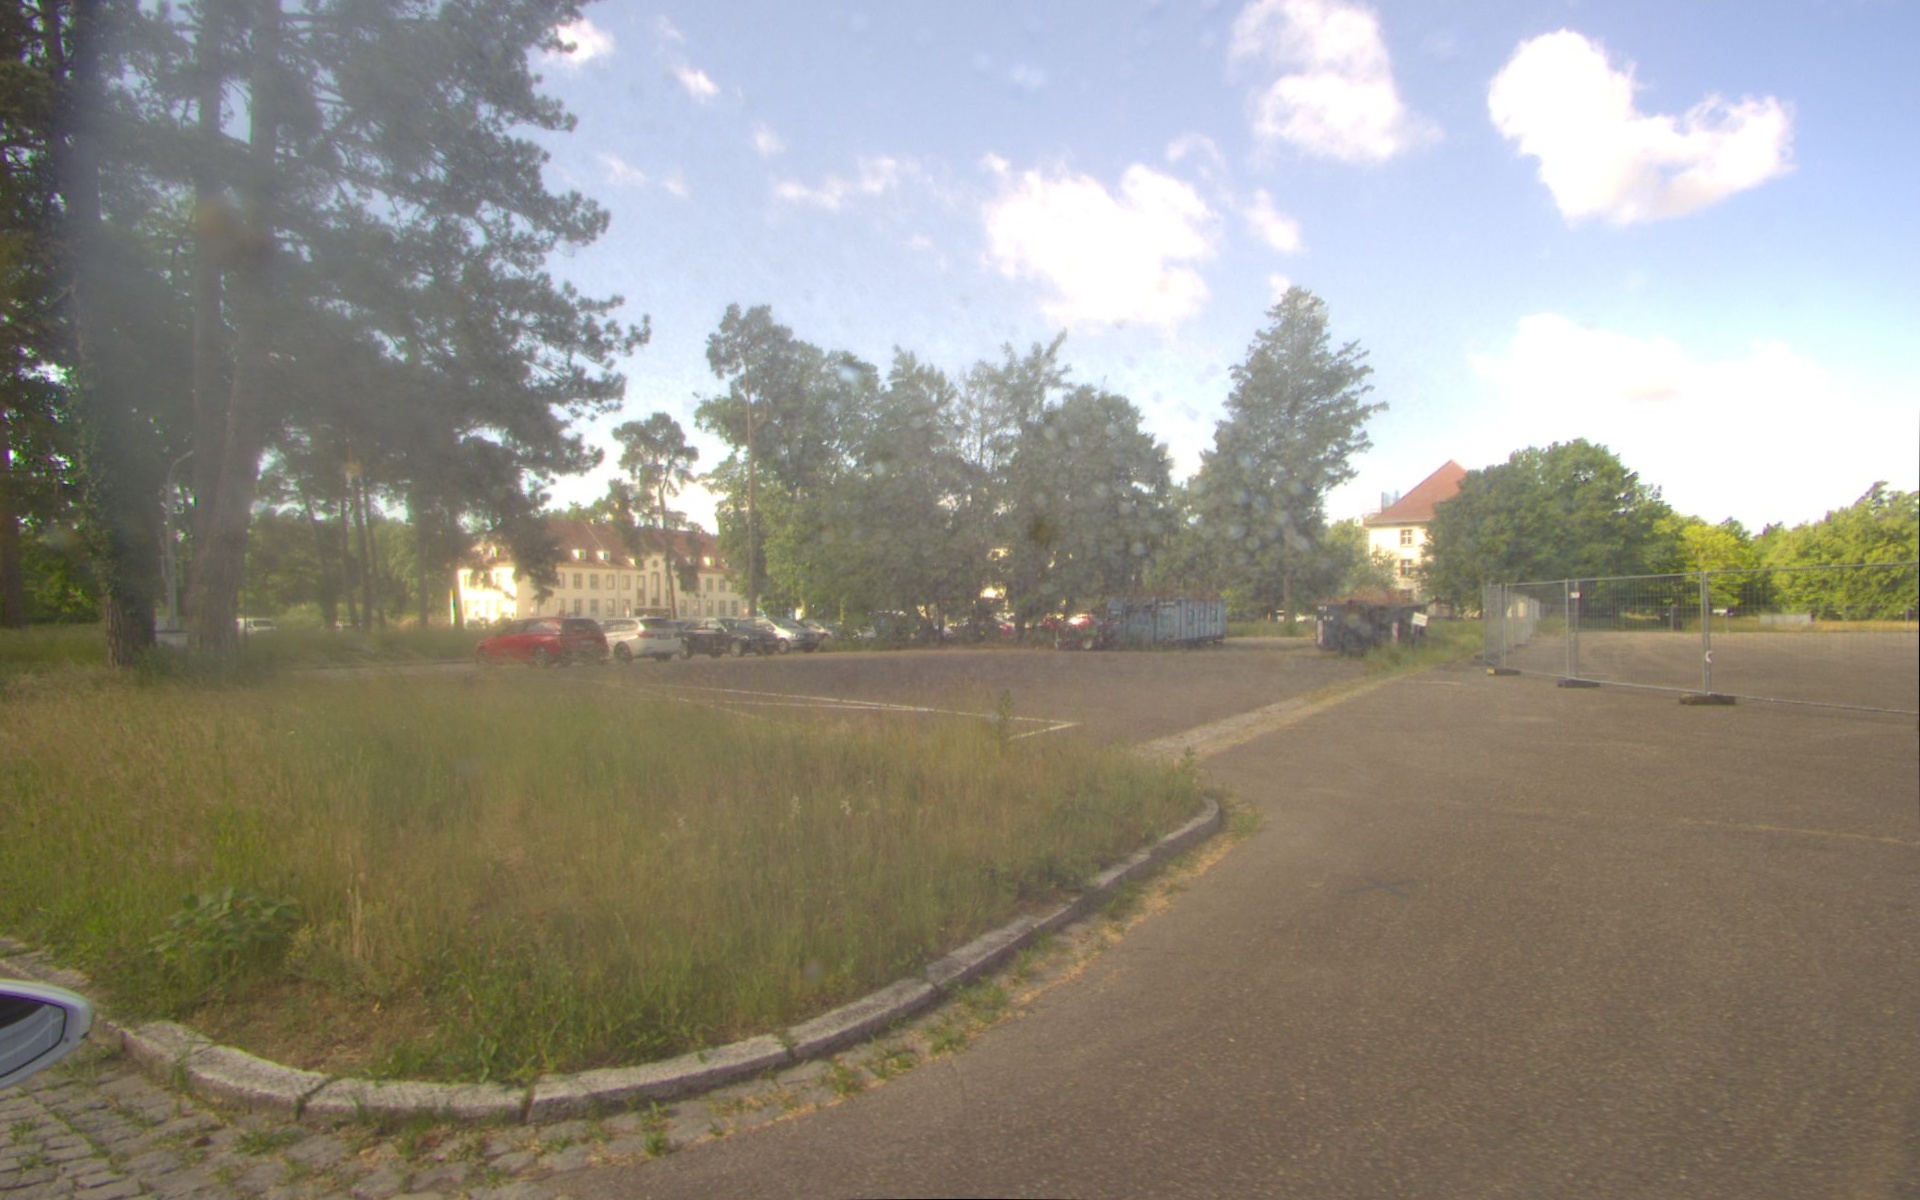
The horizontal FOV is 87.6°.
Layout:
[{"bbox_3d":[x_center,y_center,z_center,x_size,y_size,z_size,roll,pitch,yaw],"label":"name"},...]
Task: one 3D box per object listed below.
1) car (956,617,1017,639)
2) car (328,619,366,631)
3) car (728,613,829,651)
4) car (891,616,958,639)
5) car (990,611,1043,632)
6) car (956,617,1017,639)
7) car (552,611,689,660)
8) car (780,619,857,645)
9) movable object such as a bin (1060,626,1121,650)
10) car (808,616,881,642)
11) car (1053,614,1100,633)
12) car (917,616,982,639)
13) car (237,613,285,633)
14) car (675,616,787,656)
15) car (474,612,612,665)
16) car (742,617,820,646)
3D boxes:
[{"bbox_3d":[1.925,2.068,73.506,4.181,1.568,1.721,-1,-2,33],"label":"car"},{"bbox_3d":[-55.226,2.225,90.141,3.951,1.101,1.716,-1,-1,39],"label":"car"},{"bbox_3d":[-7.036,1.239,38.660,3.740,1.390,1.720,-1,-2,34],"label":"car"},{"bbox_3d":[-2.326,1.817,65.719,4.181,1.443,1.721,-1,-2,33],"label":"car"},{"bbox_3d":[4.311,1.680,76.433,3.640,1.568,1.705,-1,-2,33],"label":"car"},{"bbox_3d":[1.939,2.068,73.497,4.181,1.568,1.721,-1,-2,33],"label":"car"},{"bbox_3d":[-10.699,1.122,31.476,4.180,1.396,1.776,-3,-2,31],"label":"car"},{"bbox_3d":[-7.989,1.799,56.378,4.181,1.443,1.721,-1,-2,33],"label":"car"},{"bbox_3d":[4.265,1.227,32.647,1.696,0.762,1.143,-1,-1,26],"label":"movable object such as a bin"},{"bbox_3d":[-6.859,1.702,59.226,4.181,1.487,1.721,-1,-2,33],"label":"car"},{"bbox_3d":[10.081,2.041,86.681,3.682,1.568,1.705,-1,-2,33],"label":"car"},{"bbox_3d":[-0.751,1.886,68.301,4.181,1.568,1.721,-1,-2,33],"label":"car"},{"bbox_3d":[-58.643,1.929,83.987,4.103,1.603,1.823,-1,0,33],"label":"car"},{"bbox_3d":[-8.255,1.249,35.989,3.988,1.332,1.613,-1,0,33],"label":"car"},{"bbox_3d":[-12.094,1.131,28.976,4.071,1.416,1.653,-2,-2,33],"label":"car"},{"bbox_3d":[-9.788,1.700,54.683,4.181,1.512,1.721,-1,-2,33],"label":"car"}]
